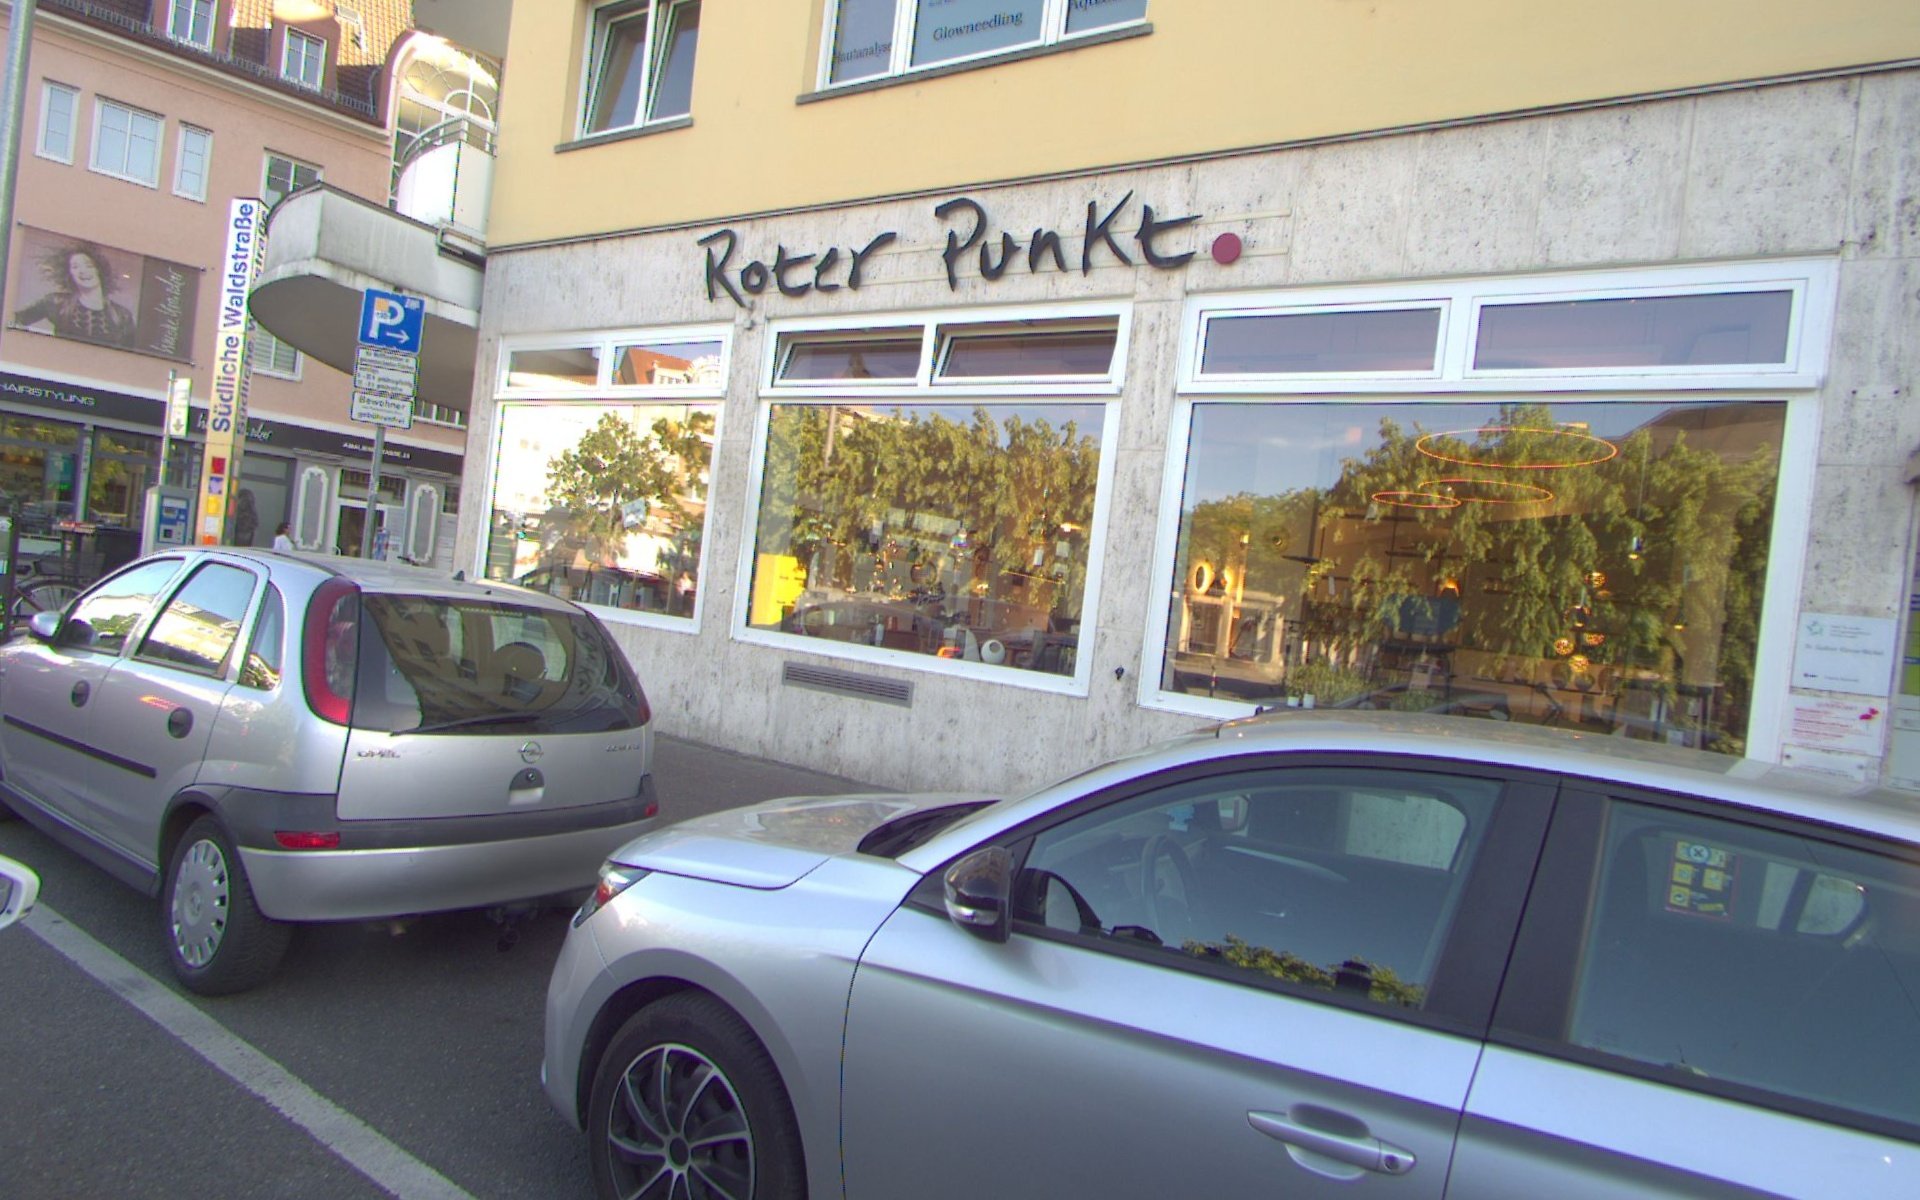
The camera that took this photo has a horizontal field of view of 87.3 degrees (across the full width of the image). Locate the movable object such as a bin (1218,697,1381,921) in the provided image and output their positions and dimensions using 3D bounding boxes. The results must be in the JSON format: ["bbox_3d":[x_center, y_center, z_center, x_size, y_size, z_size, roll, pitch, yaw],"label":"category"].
[{"bbox_3d":[1.879,1.092,5.522,0.592,1.041,0.811,6,-1,31],"label":"movable object such as a bin"}]

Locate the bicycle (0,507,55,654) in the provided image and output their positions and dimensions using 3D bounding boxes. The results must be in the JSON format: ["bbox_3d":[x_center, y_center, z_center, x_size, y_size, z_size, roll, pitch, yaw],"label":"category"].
[{"bbox_3d":[-9.102,-0.237,8.703,0.778,1.284,1.721,7,1,37],"label":"bicycle"}]

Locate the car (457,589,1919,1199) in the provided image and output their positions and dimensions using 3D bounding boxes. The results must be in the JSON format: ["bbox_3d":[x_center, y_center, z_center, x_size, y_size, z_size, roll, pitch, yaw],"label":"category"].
[{"bbox_3d":[0.786,0.925,2.311,3.643,1.415,1.652,7,-1,30],"label":"car"}]

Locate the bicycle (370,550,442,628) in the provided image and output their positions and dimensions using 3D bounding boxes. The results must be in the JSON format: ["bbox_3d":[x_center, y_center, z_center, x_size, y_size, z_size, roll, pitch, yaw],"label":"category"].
[{"bbox_3d":[-9.926,-0.215,17.974,0.656,1.213,2.187,7,-1,-39],"label":"bicycle"}]

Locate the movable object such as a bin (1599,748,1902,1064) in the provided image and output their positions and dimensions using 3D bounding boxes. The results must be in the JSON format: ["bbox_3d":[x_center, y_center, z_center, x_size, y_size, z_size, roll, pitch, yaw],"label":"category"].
[{"bbox_3d":[3.448,1.280,4.492,0.879,1.066,0.751,7,0,32],"label":"movable object such as a bin"}]

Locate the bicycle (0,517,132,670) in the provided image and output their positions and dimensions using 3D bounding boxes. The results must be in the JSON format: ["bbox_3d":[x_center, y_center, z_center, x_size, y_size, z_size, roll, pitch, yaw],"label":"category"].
[{"bbox_3d":[-8.098,-0.086,8.229,0.681,1.208,1.885,8,1,37],"label":"bicycle"}]

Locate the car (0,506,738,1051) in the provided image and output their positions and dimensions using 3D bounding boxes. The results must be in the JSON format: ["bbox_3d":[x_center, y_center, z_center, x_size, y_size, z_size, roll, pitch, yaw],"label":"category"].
[{"bbox_3d":[-2.934,0.478,4.462,3.583,1.397,1.616,7,-2,32],"label":"car"}]

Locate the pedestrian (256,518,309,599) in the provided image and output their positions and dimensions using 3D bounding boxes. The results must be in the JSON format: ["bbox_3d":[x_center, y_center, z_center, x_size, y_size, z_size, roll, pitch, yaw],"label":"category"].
[{"bbox_3d":[-14.073,-0.854,20.918,0.742,1.571,0.693,7,0,-34],"label":"pedestrian"}]

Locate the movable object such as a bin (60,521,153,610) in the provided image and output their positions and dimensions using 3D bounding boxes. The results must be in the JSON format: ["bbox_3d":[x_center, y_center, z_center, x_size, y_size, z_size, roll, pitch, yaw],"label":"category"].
[{"bbox_3d":[-11.894,-0.471,14.029,0.617,1.105,0.754,6,-1,34],"label":"movable object such as a bin"}]

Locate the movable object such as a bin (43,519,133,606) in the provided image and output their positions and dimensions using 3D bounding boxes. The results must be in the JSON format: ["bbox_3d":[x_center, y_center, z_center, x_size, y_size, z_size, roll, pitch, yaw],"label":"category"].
[{"bbox_3d":[-12.430,-0.530,14.350,0.617,1.105,0.734,6,-1,34],"label":"movable object such as a bin"}]
